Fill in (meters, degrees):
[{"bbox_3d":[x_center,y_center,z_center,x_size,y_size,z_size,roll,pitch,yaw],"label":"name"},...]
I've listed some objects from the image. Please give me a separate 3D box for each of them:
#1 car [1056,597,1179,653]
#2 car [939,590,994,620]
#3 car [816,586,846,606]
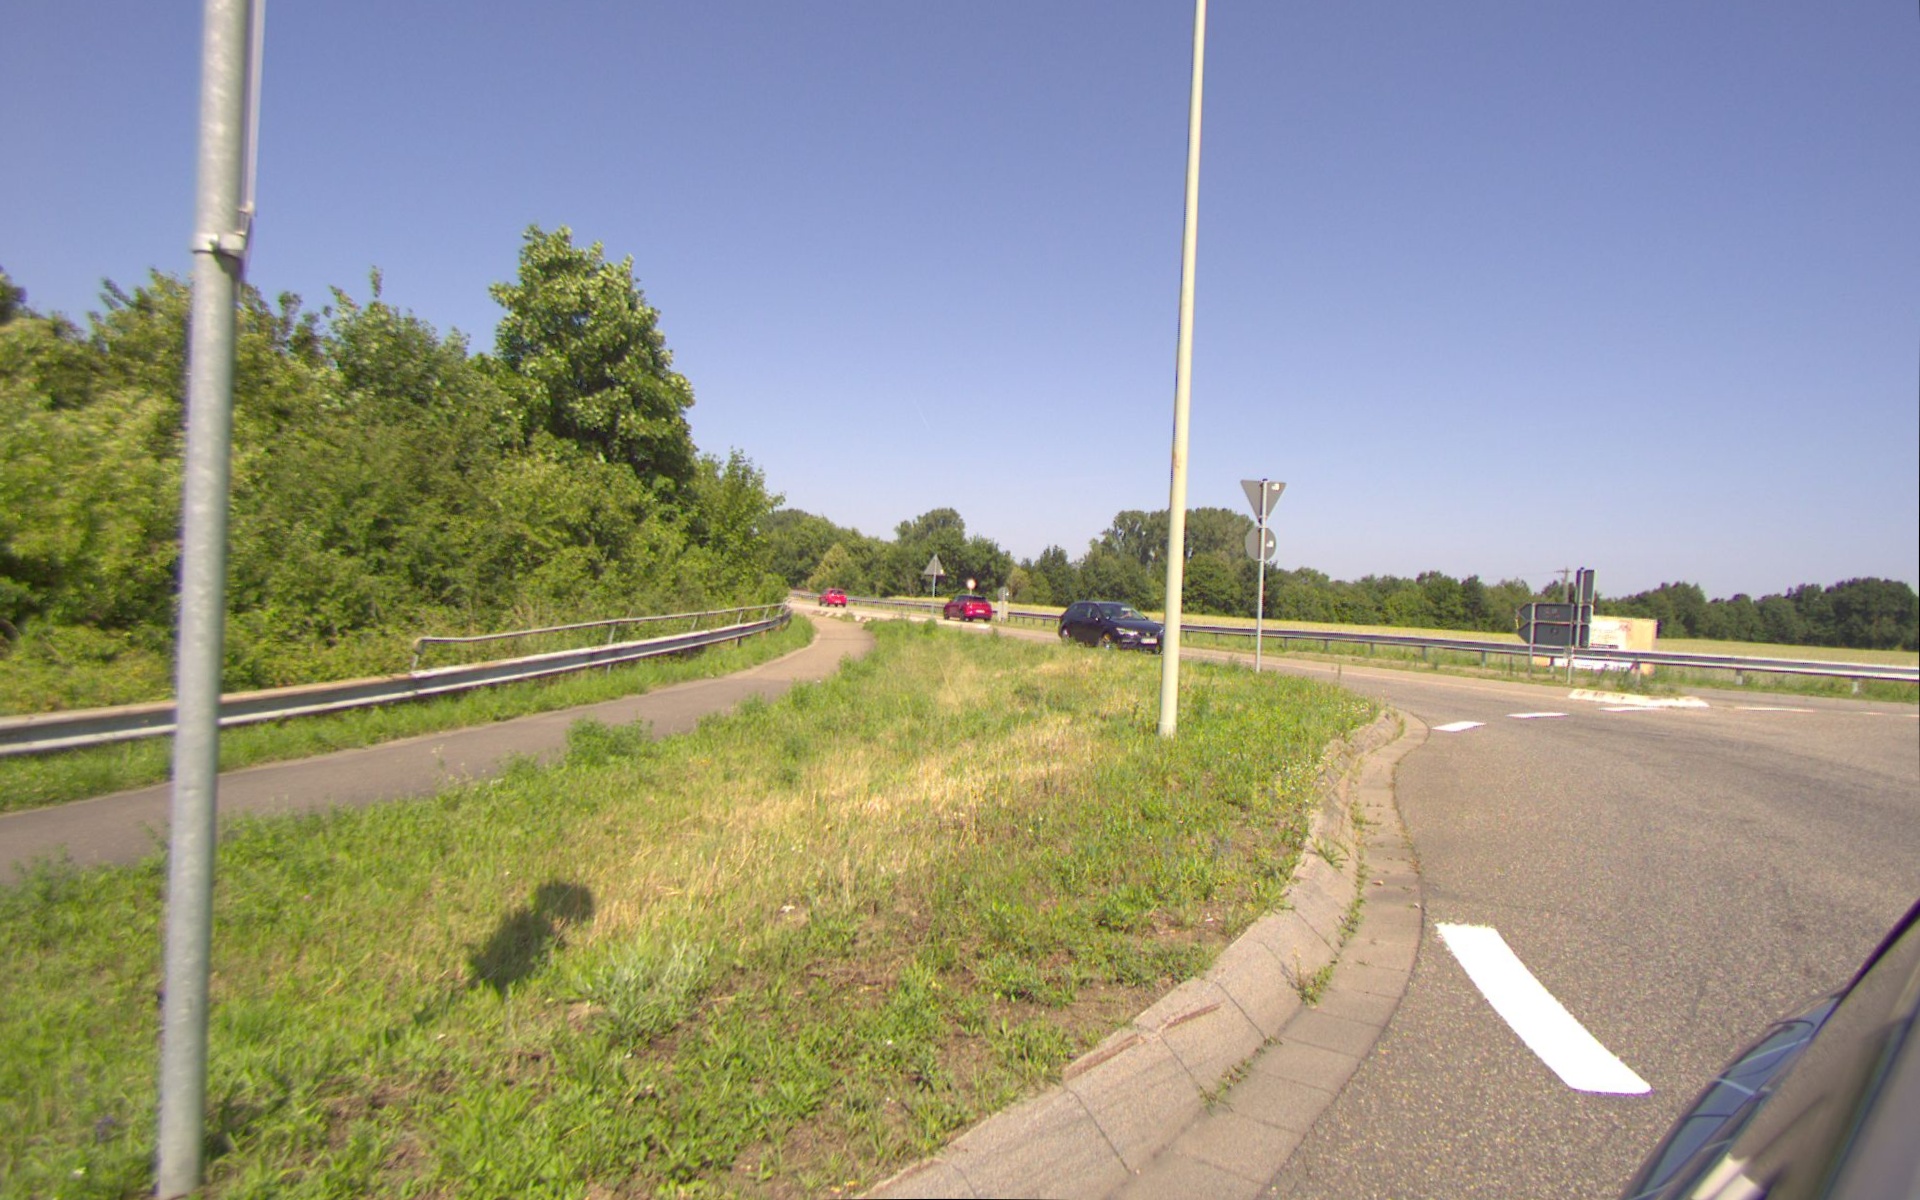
[{"bbox_3d":[4.591,0.702,30.095,1.770,1.415,4.189,2,1,-20],"label":"car"},{"bbox_3d":[0.340,0.281,57.851,1.713,1.542,3.838,4,-1,-22],"label":"car"},{"bbox_3d":[-11.035,-0.381,86.268,1.598,1.509,3.811,4,0,-21],"label":"car"}]
